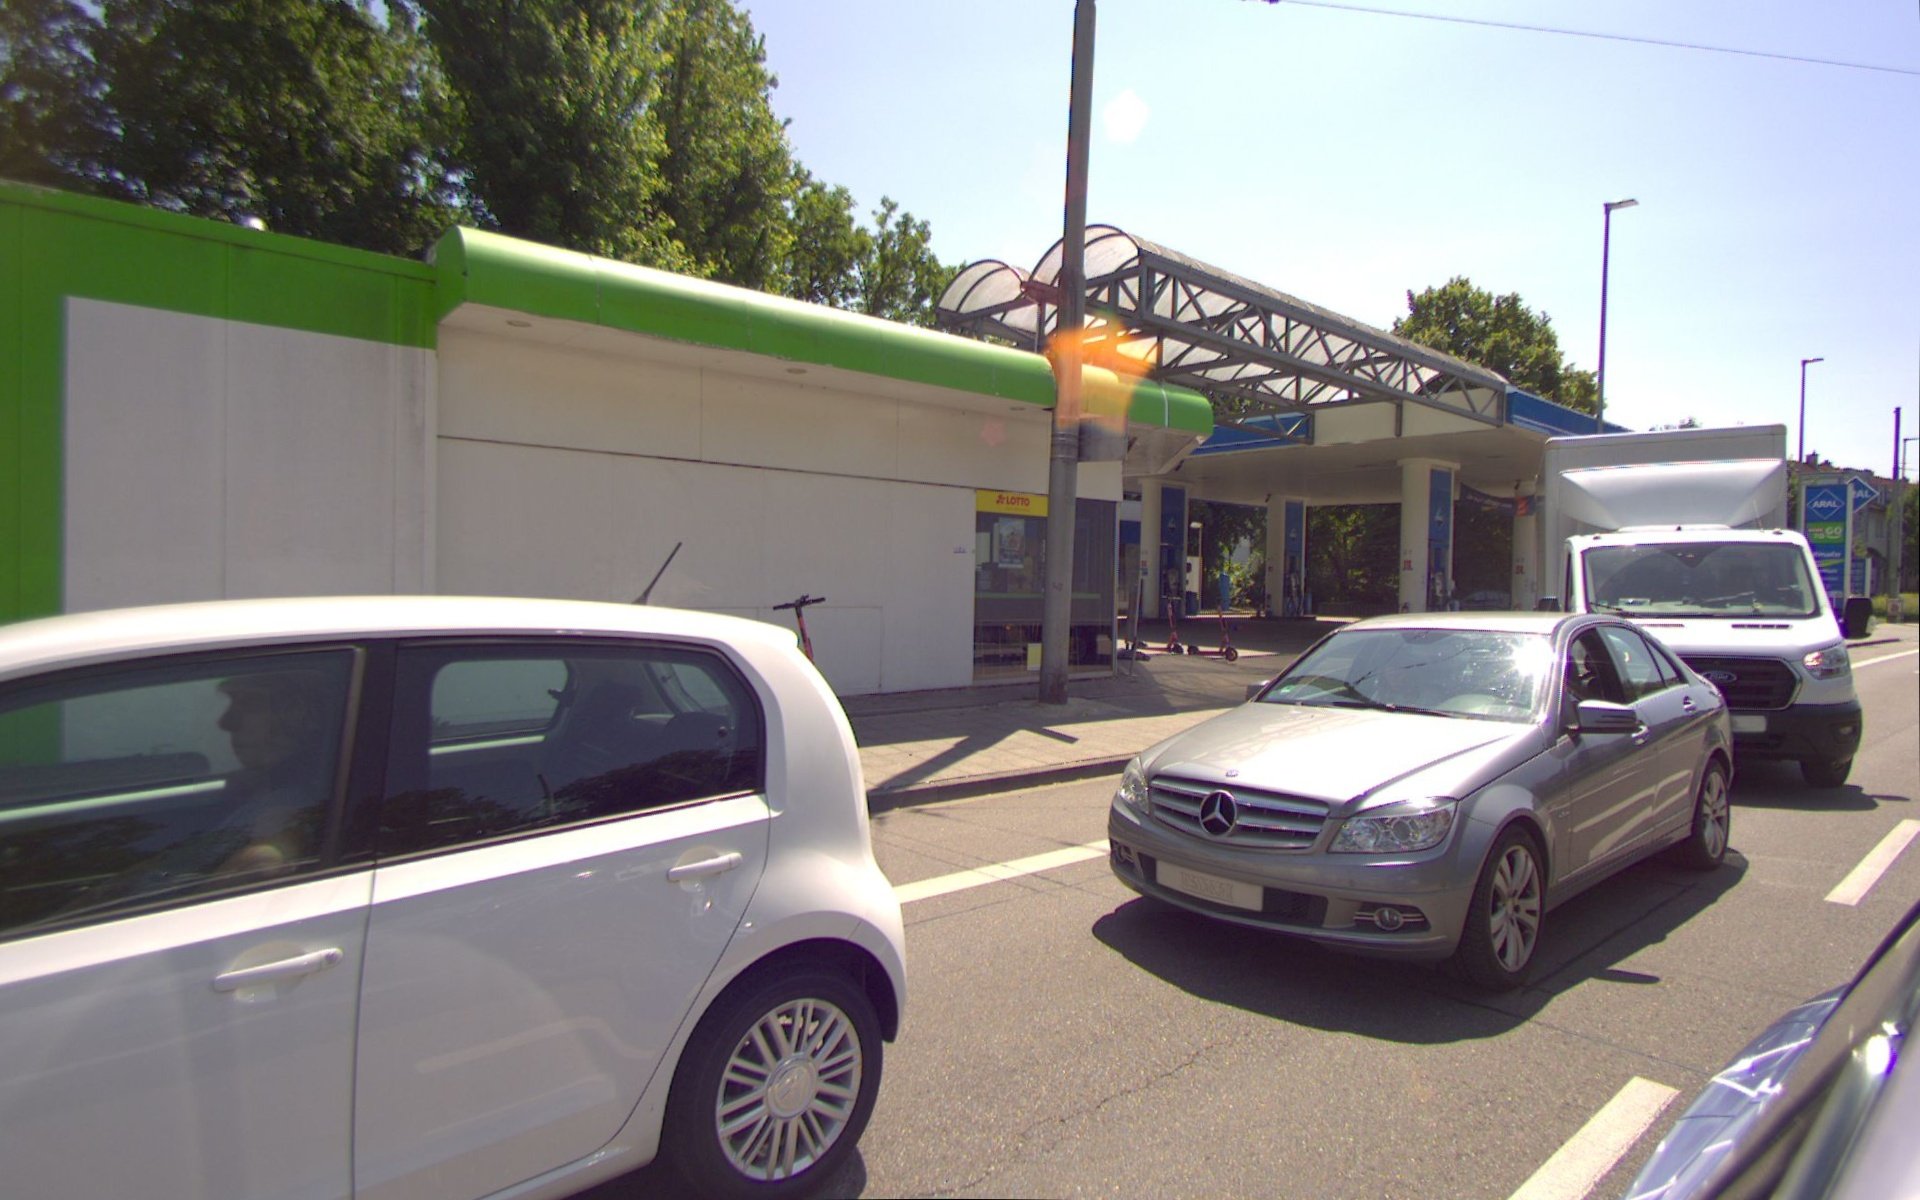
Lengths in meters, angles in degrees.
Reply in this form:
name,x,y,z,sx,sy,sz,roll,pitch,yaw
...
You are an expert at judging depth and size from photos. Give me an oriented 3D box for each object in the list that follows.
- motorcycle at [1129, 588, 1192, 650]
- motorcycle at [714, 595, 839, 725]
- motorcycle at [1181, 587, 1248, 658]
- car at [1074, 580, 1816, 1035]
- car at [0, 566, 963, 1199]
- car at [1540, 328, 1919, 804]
name,x,y,z,sx,sy,sz,roll,pitch,yaw
motorcycle,3.928,0.367,19.900,0.389,1.127,1.156,2,2,-41
motorcycle,-1.677,0.525,9.309,1.098,1.118,0.253,-1,7,-40
motorcycle,4.754,0.408,18.935,0.357,1.225,1.156,2,2,-41
car,3.069,0.699,5.657,5.206,1.492,1.716,0,-1,-40
car,-1.793,0.680,2.287,3.374,1.466,1.612,1,0,-40
car,7.937,-0.262,11.480,2.211,3.378,8.546,-1,0,29
